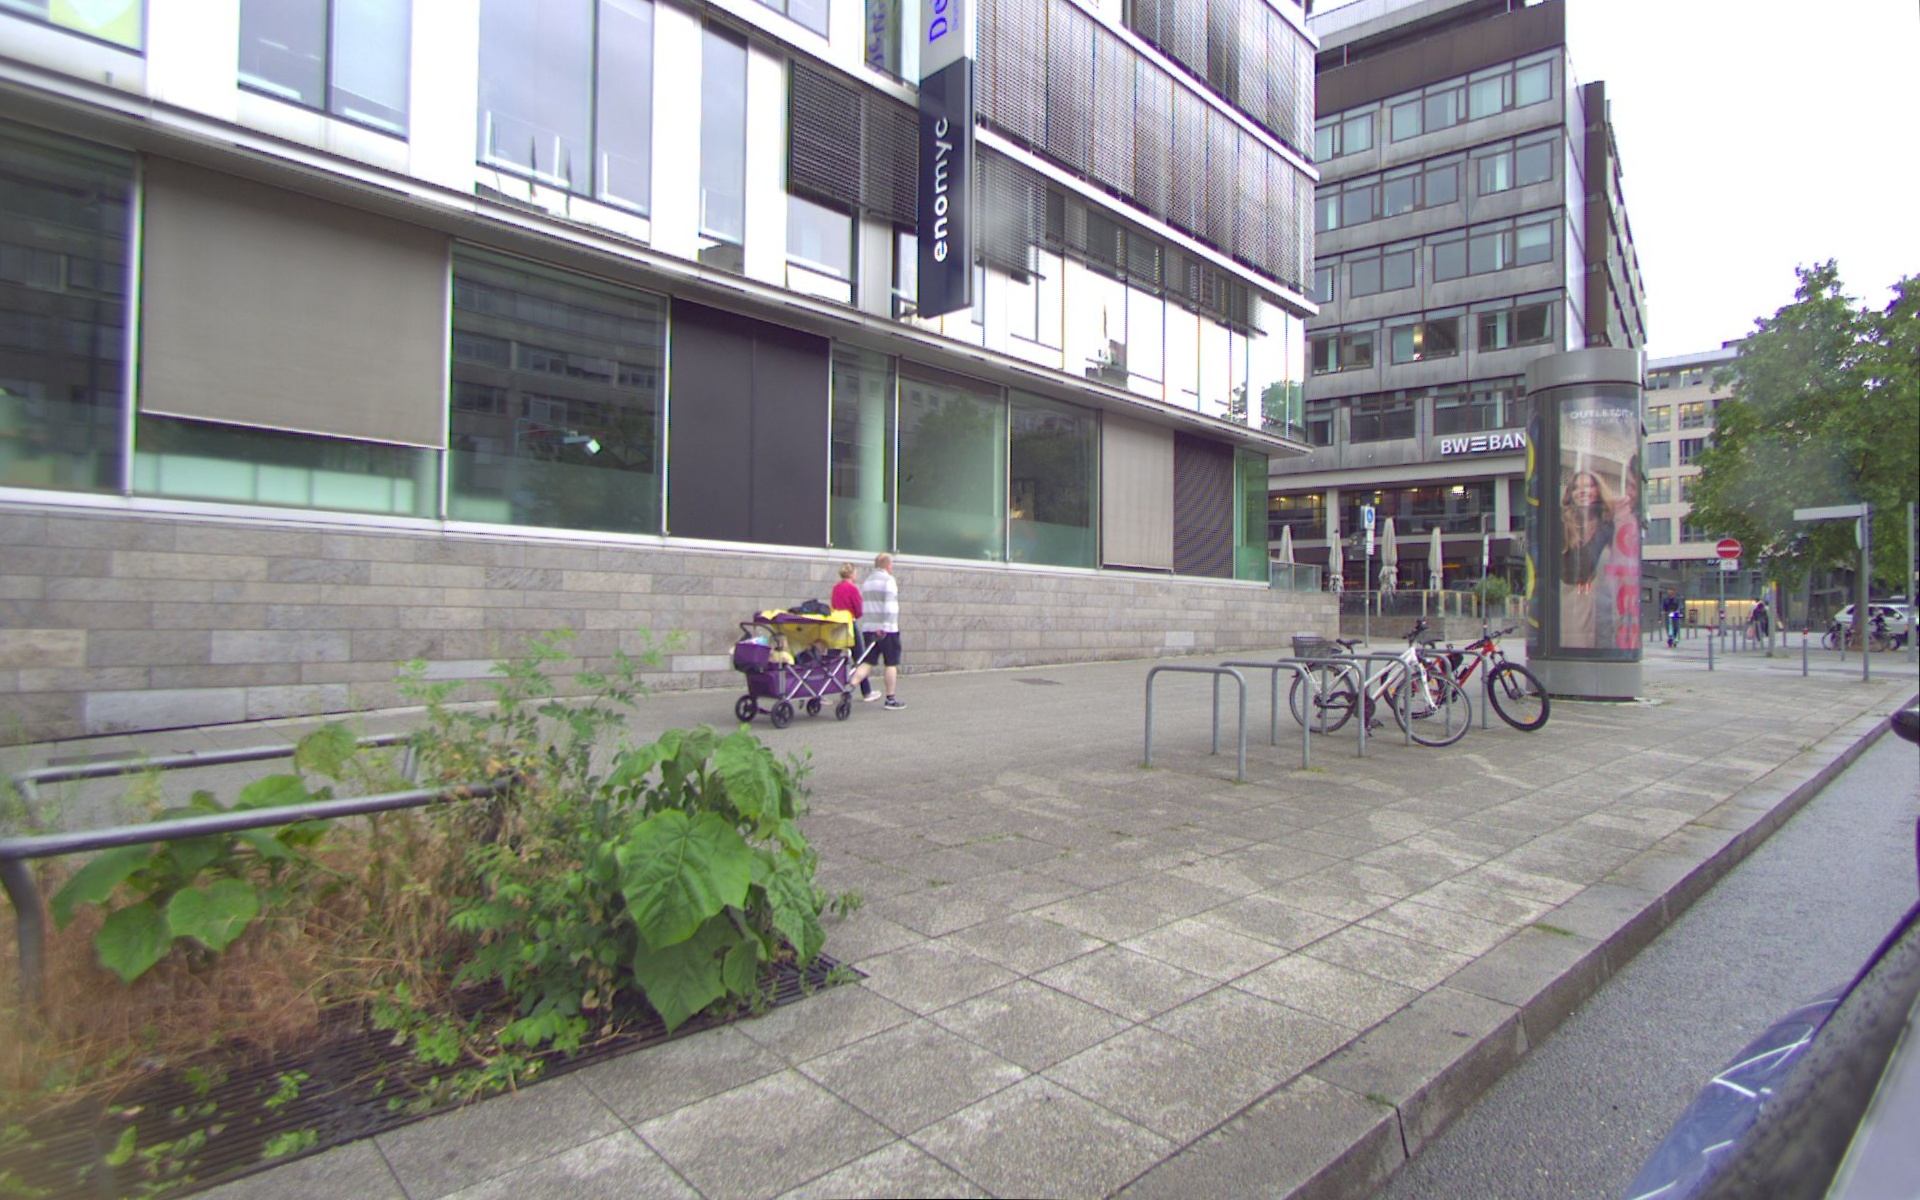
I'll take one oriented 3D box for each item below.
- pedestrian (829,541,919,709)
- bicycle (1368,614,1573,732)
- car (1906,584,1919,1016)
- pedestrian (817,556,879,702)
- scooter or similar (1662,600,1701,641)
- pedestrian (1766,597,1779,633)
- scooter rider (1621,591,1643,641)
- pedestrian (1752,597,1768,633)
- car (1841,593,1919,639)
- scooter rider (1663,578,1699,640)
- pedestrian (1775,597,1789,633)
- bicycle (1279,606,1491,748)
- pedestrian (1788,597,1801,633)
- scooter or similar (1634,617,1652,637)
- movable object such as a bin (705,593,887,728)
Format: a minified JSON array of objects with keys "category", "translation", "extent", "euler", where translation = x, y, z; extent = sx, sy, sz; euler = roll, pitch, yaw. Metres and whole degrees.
[{"category":"pedestrian","translation":[-0.987,0.269,11.669],"extent":[0.722,1.853,0.735],"euler":[1,1,44]},{"category":"bicycle","translation":[5.502,0.742,10.994],"extent":[0.658,1.124,1.873],"euler":[1,0,-43]},{"category":"car","translation":[5.252,0.697,4.270],"extent":[3.647,1.529,1.592],"euler":[0,-1,-43]},{"category":"pedestrian","translation":[-1.359,0.339,12.285],"extent":[0.484,1.720,0.570],"euler":[1,1,44]},{"category":"scooter or similar","translation":[24.236,0.678,34.012],"extent":[1.311,1.322,0.779],"euler":[0,0,-41]},{"category":"pedestrian","translation":[39.969,0.735,49.779],"extent":[0.538,1.723,0.451],"euler":[0,0,-43]},{"category":"scooter rider","translation":[27.977,0.641,42.155],"extent":[0.626,2.051,0.841],"euler":[-1,-1,44]},{"category":"pedestrian","translation":[39.627,0.733,50.104],"extent":[0.538,1.723,0.551],"euler":[0,0,-43]},{"category":"car","translation":[38.840,0.631,41.101],"extent":[1.959,1.836,4.218],"euler":[-1,-2,-10]},{"category":"scooter rider","translation":[24.244,0.288,34.022],"extent":[0.908,2.047,0.779],"euler":[0,-1,-41]},{"category":"pedestrian","translation":[40.231,0.735,49.530],"extent":[0.488,1.723,0.451],"euler":[0,0,-43]},{"category":"bicycle","translation":[4.092,0.693,9.823],"extent":[1.789,1.222,0.660],"euler":[1,0,40]},{"category":"pedestrian","translation":[40.761,0.733,49.435],"extent":[0.488,1.723,0.451],"euler":[0,0,-43]},{"category":"scooter or similar","translation":[28.304,1.109,41.928],"extent":[0.407,0.782,1.256],"euler":[0,0,43]},{"category":"movable object such as a bin","translation":[-1.684,0.569,10.600],"extent":[0.802,1.281,1.760],"euler":[1,1,44]}]
